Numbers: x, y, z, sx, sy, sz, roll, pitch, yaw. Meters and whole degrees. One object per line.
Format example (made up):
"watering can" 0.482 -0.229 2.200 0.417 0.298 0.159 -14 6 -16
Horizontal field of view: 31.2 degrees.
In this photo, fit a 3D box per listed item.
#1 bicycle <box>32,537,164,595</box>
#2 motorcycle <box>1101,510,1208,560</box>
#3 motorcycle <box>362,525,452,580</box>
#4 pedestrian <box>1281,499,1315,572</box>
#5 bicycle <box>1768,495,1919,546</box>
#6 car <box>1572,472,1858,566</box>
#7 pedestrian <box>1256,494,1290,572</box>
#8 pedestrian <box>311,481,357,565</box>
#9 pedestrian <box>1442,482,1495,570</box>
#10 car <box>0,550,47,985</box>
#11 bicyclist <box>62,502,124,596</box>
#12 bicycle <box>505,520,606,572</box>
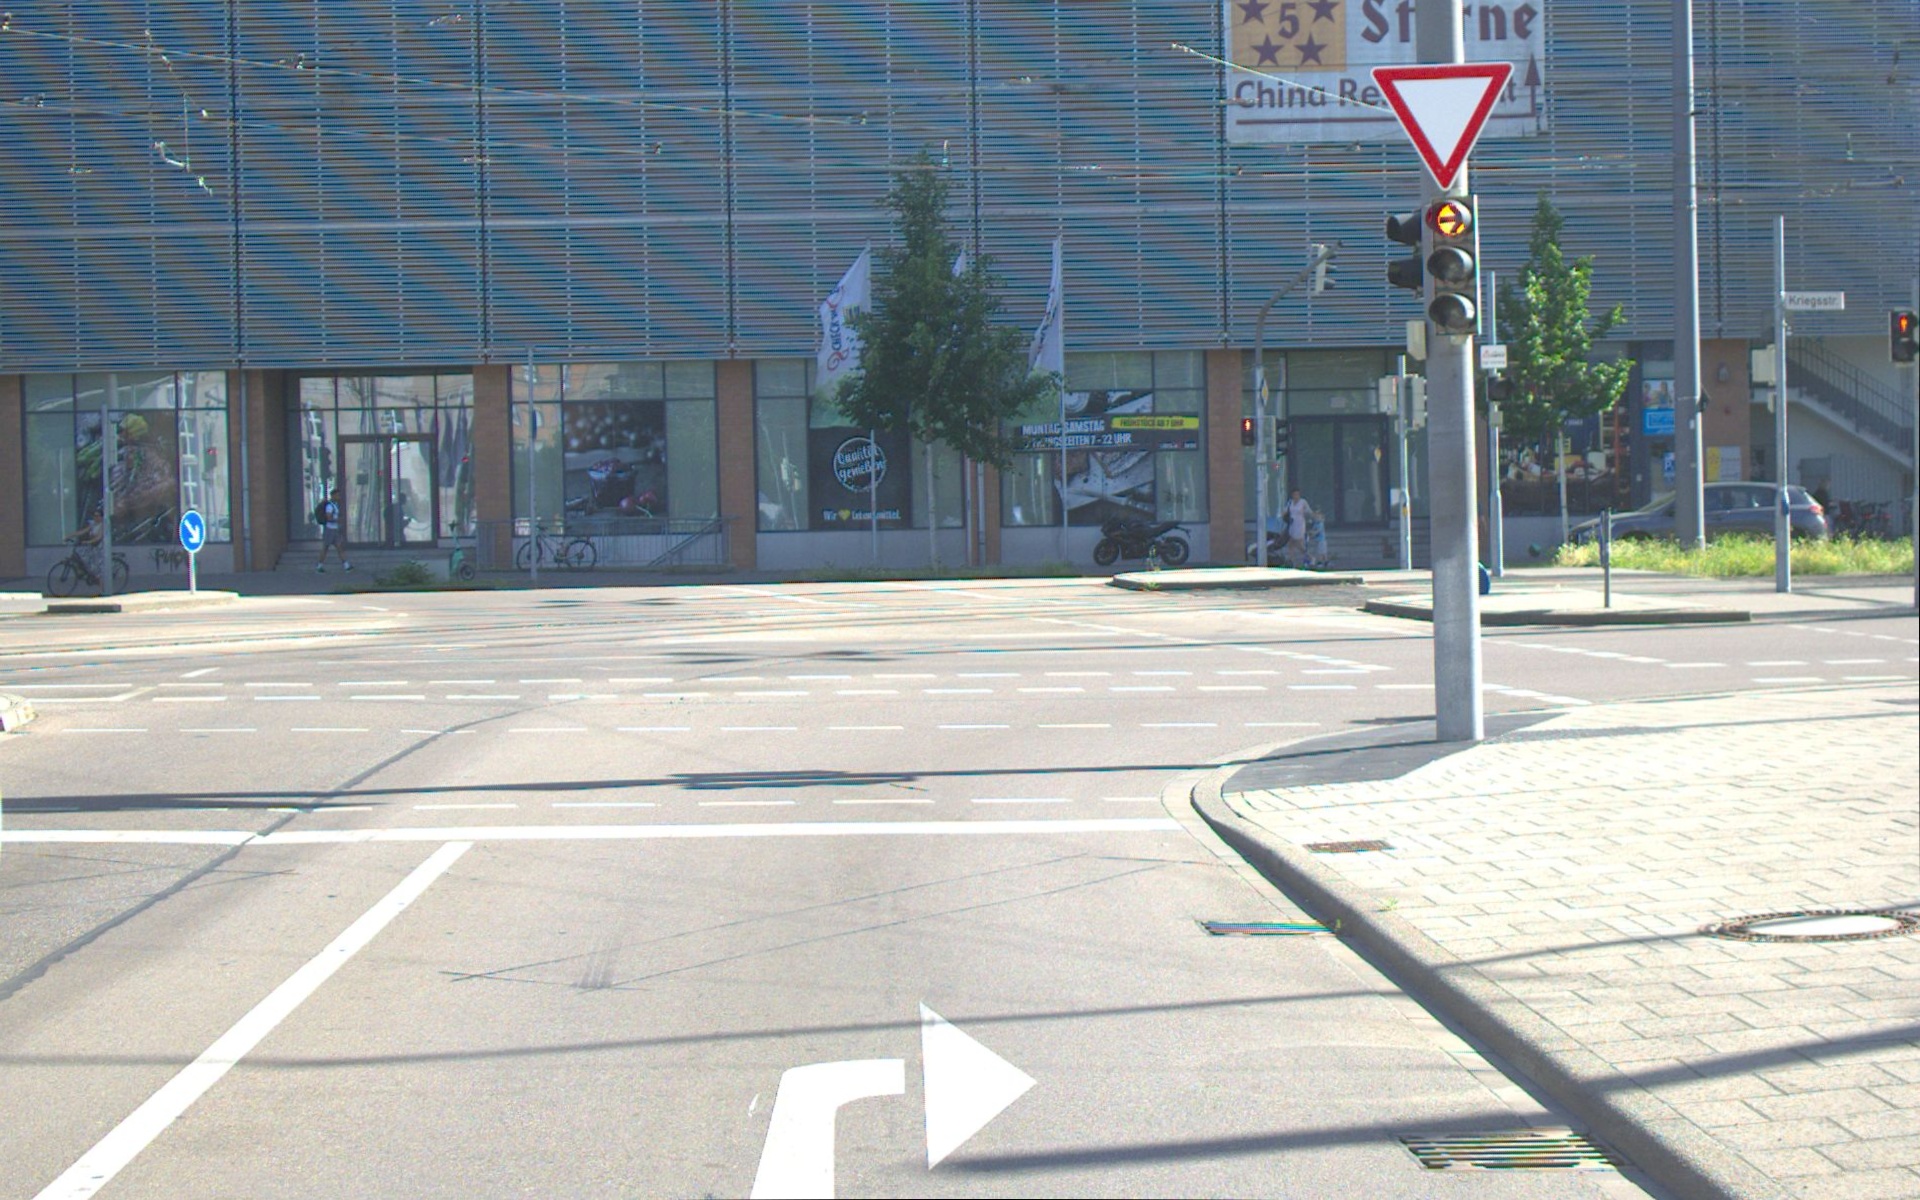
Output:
"bicycle" -16.710 -0.675 66.701 2.239 1.067 1.046 -2 2 -42
"motorcycle" 4.126 -1.391 73.028 2.202 1.039 1.061 0 2 -1
"motorcycle" -10.881 -0.941 67.661 1.652 1.055 0.497 -1 1 8
"pedestrian" 6.789 -1.305 69.090 0.589 1.457 0.658 -1 1 -2
"bicycle" 19.166 -1.710 73.890 3.361 1.073 1.117 0 2 5
"car" 12.724 -1.370 58.072 4.486 1.489 1.495 -1 1 -1
"pedestrian" 6.225 -1.337 68.359 0.589 1.529 0.658 -1 1 -2
"pedestrian" -13.284 -1.635 72.985 0.848 1.757 0.620 -1 1 -2
"pedestrian" 10.101 -1.469 68.317 0.853 1.732 0.754 -1 1 -8
"car" -3.895 0.565 9.853 1.632 1.418 3.783 2 1 -2
"bicyclist" -16.795 -0.988 66.625 0.843 1.797 0.816 -2 2 -43
"bicycle" -8.550 -1.139 72.771 2.026 1.055 1.145 -1 1 -2
